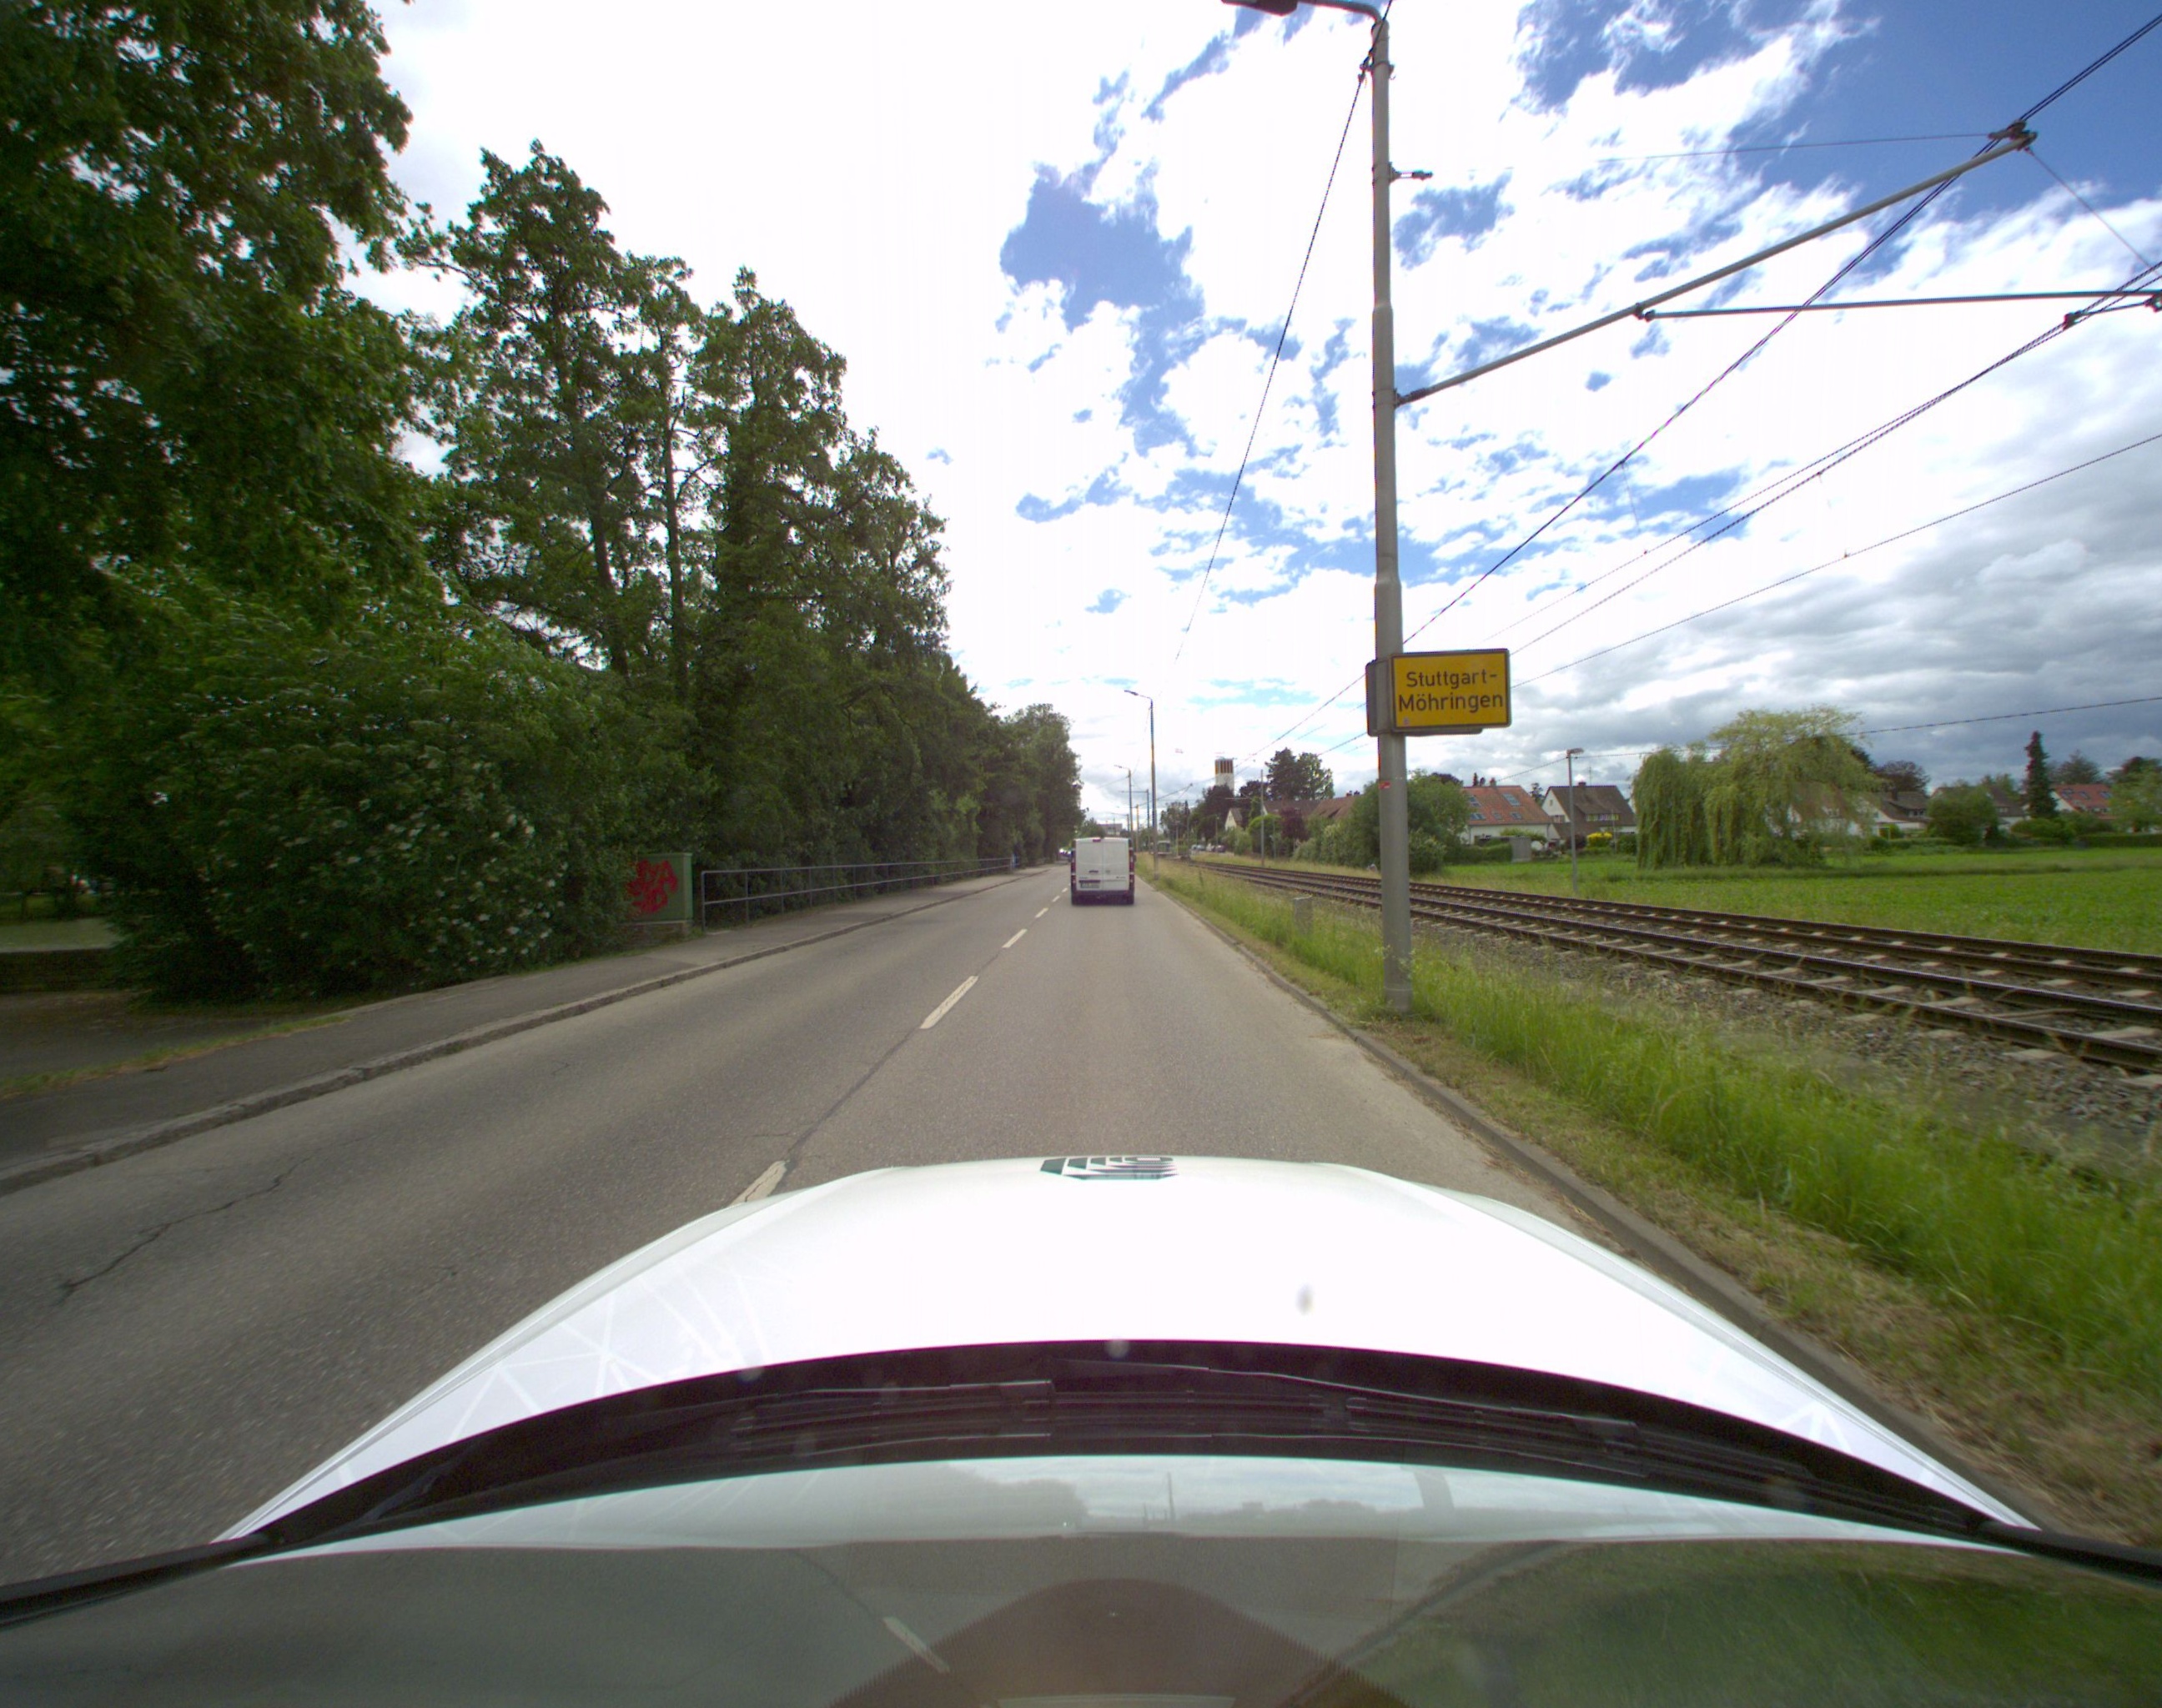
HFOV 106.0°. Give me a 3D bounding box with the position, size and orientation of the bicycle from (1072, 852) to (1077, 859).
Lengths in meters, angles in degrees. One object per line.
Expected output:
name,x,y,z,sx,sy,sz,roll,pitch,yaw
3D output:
bicycle,-1.201,0.213,153.868,0.752,1.226,2.309,-3,0,1

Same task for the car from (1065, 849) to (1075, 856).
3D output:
car,-2.521,-0.401,185.895,1.734,1.504,4.470,-3,1,-5

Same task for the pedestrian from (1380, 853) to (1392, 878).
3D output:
pedestrian,20.359,0.770,54.400,0.614,1.622,0.584,0,0,2

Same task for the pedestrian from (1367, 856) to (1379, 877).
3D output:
pedestrian,19.475,0.830,54.350,0.595,1.430,0.667,0,0,2

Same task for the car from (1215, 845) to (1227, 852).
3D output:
car,27.978,-1.106,163.098,1.876,1.522,4.003,-2,0,2

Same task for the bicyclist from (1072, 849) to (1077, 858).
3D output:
bicyclist,-1.191,-0.124,154.021,0.775,1.549,0.870,-2,0,1

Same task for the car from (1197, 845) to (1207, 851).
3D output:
car,29.054,-1.490,195.810,1.876,1.522,4.003,-2,0,2

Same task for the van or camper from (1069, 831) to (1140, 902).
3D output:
van or camper,0.733,0.357,25.172,1.986,2.013,4.448,0,0,2

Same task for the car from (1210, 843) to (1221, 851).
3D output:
car,27.953,-1.463,169.304,1.876,1.522,4.003,-2,0,2

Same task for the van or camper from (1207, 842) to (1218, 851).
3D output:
van or camper,28.077,-1.657,174.026,1.898,1.825,5.051,-2,0,2
